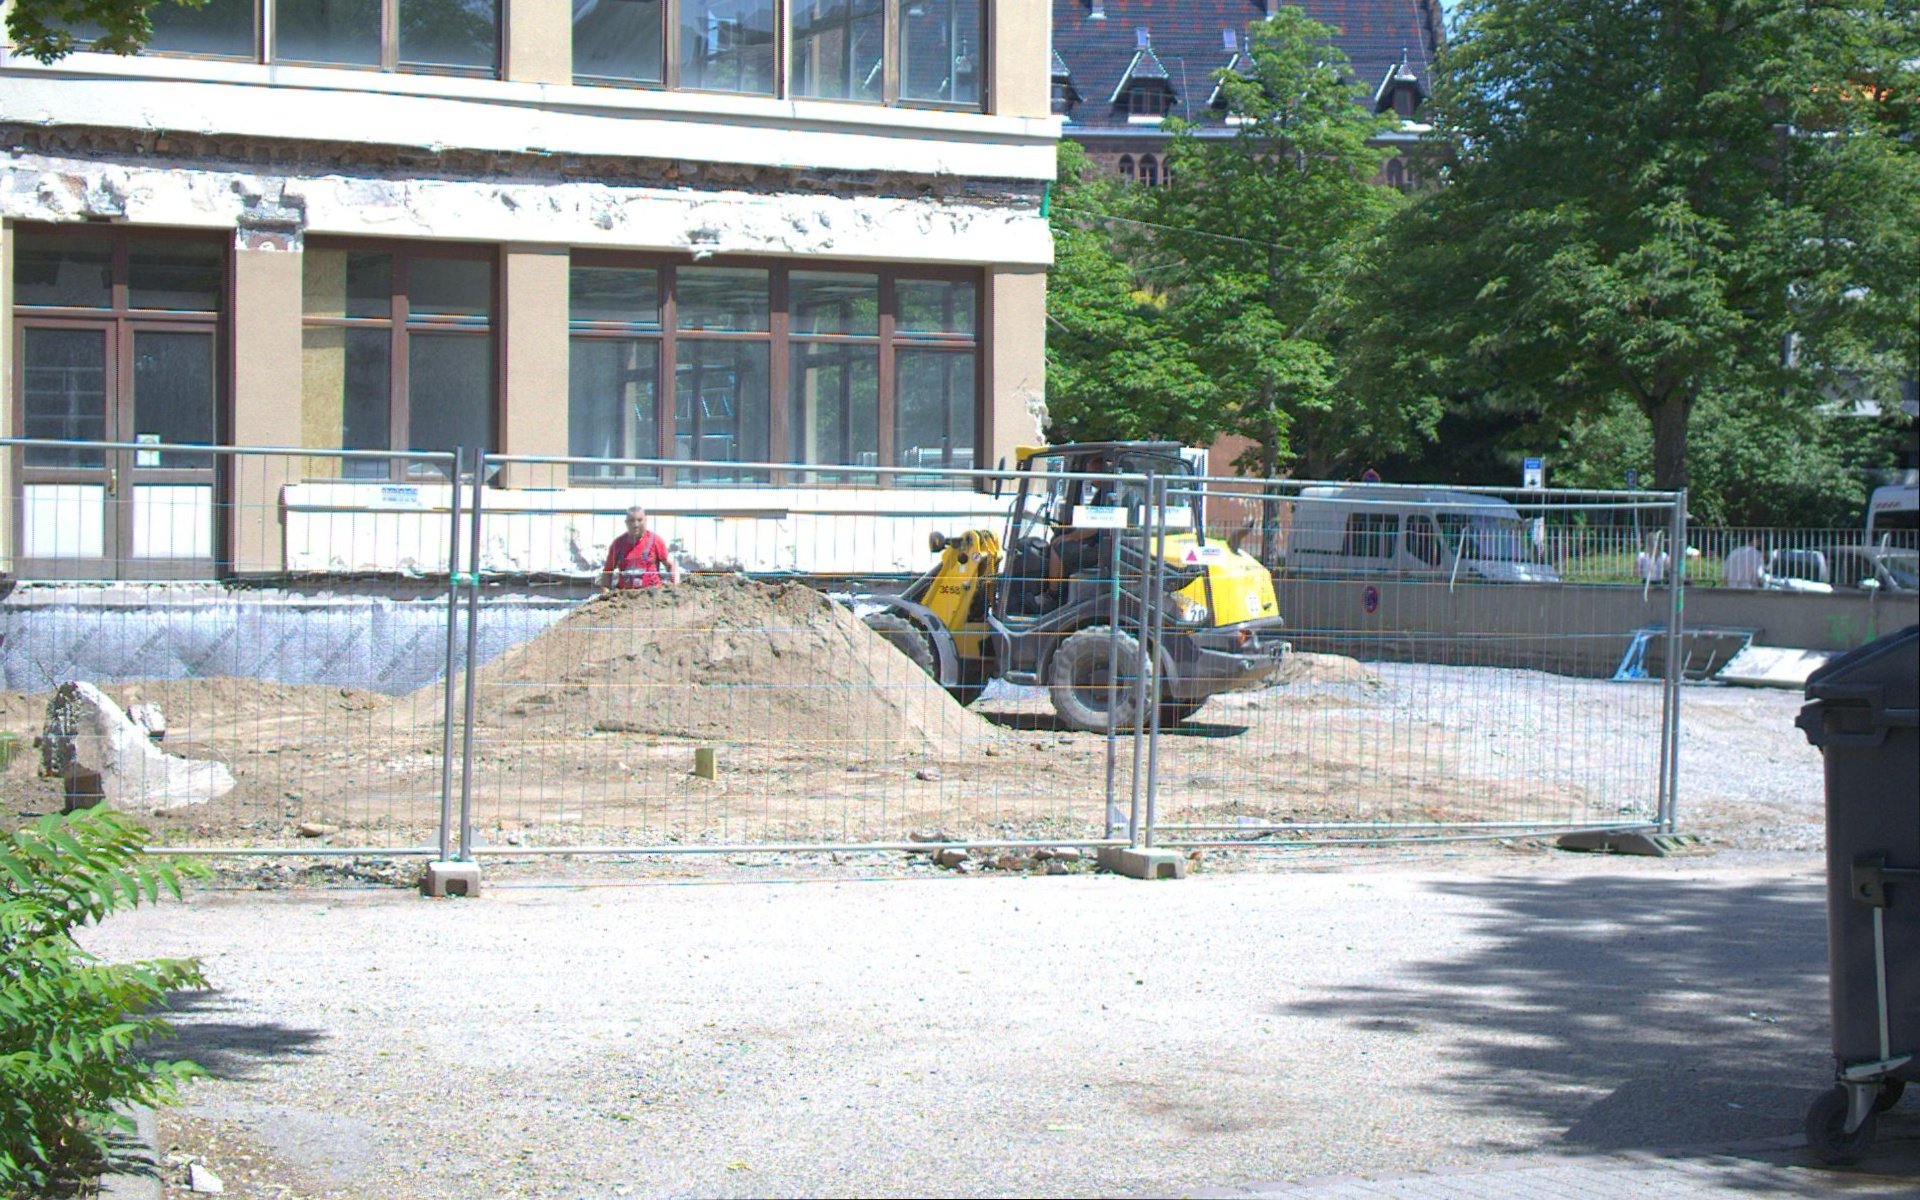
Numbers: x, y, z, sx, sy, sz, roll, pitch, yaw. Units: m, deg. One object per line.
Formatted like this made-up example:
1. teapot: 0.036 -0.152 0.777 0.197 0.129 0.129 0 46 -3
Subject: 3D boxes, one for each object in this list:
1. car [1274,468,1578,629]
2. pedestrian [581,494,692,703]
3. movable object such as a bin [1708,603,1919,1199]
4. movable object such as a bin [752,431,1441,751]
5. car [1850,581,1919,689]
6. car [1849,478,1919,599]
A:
1. car: 7.280 -0.811 54.328 1.993 2.408 5.244 0 1 -29
2. pedestrian: -2.916 -0.017 30.893 0.914 1.840 0.986 0 1 -9
3. movable object such as a bin: 2.666 0.749 9.088 1.075 1.453 1.377 0 1 1
4. movable object such as a bin: 1.177 -0.135 29.809 5.410 2.455 2.365 3 2 24
5. car: 13.304 0.431 43.805 3.712 1.316 1.614 0 1 -29
6. car: 18.561 -1.177 66.294 2.187 2.250 4.864 1 1 21
